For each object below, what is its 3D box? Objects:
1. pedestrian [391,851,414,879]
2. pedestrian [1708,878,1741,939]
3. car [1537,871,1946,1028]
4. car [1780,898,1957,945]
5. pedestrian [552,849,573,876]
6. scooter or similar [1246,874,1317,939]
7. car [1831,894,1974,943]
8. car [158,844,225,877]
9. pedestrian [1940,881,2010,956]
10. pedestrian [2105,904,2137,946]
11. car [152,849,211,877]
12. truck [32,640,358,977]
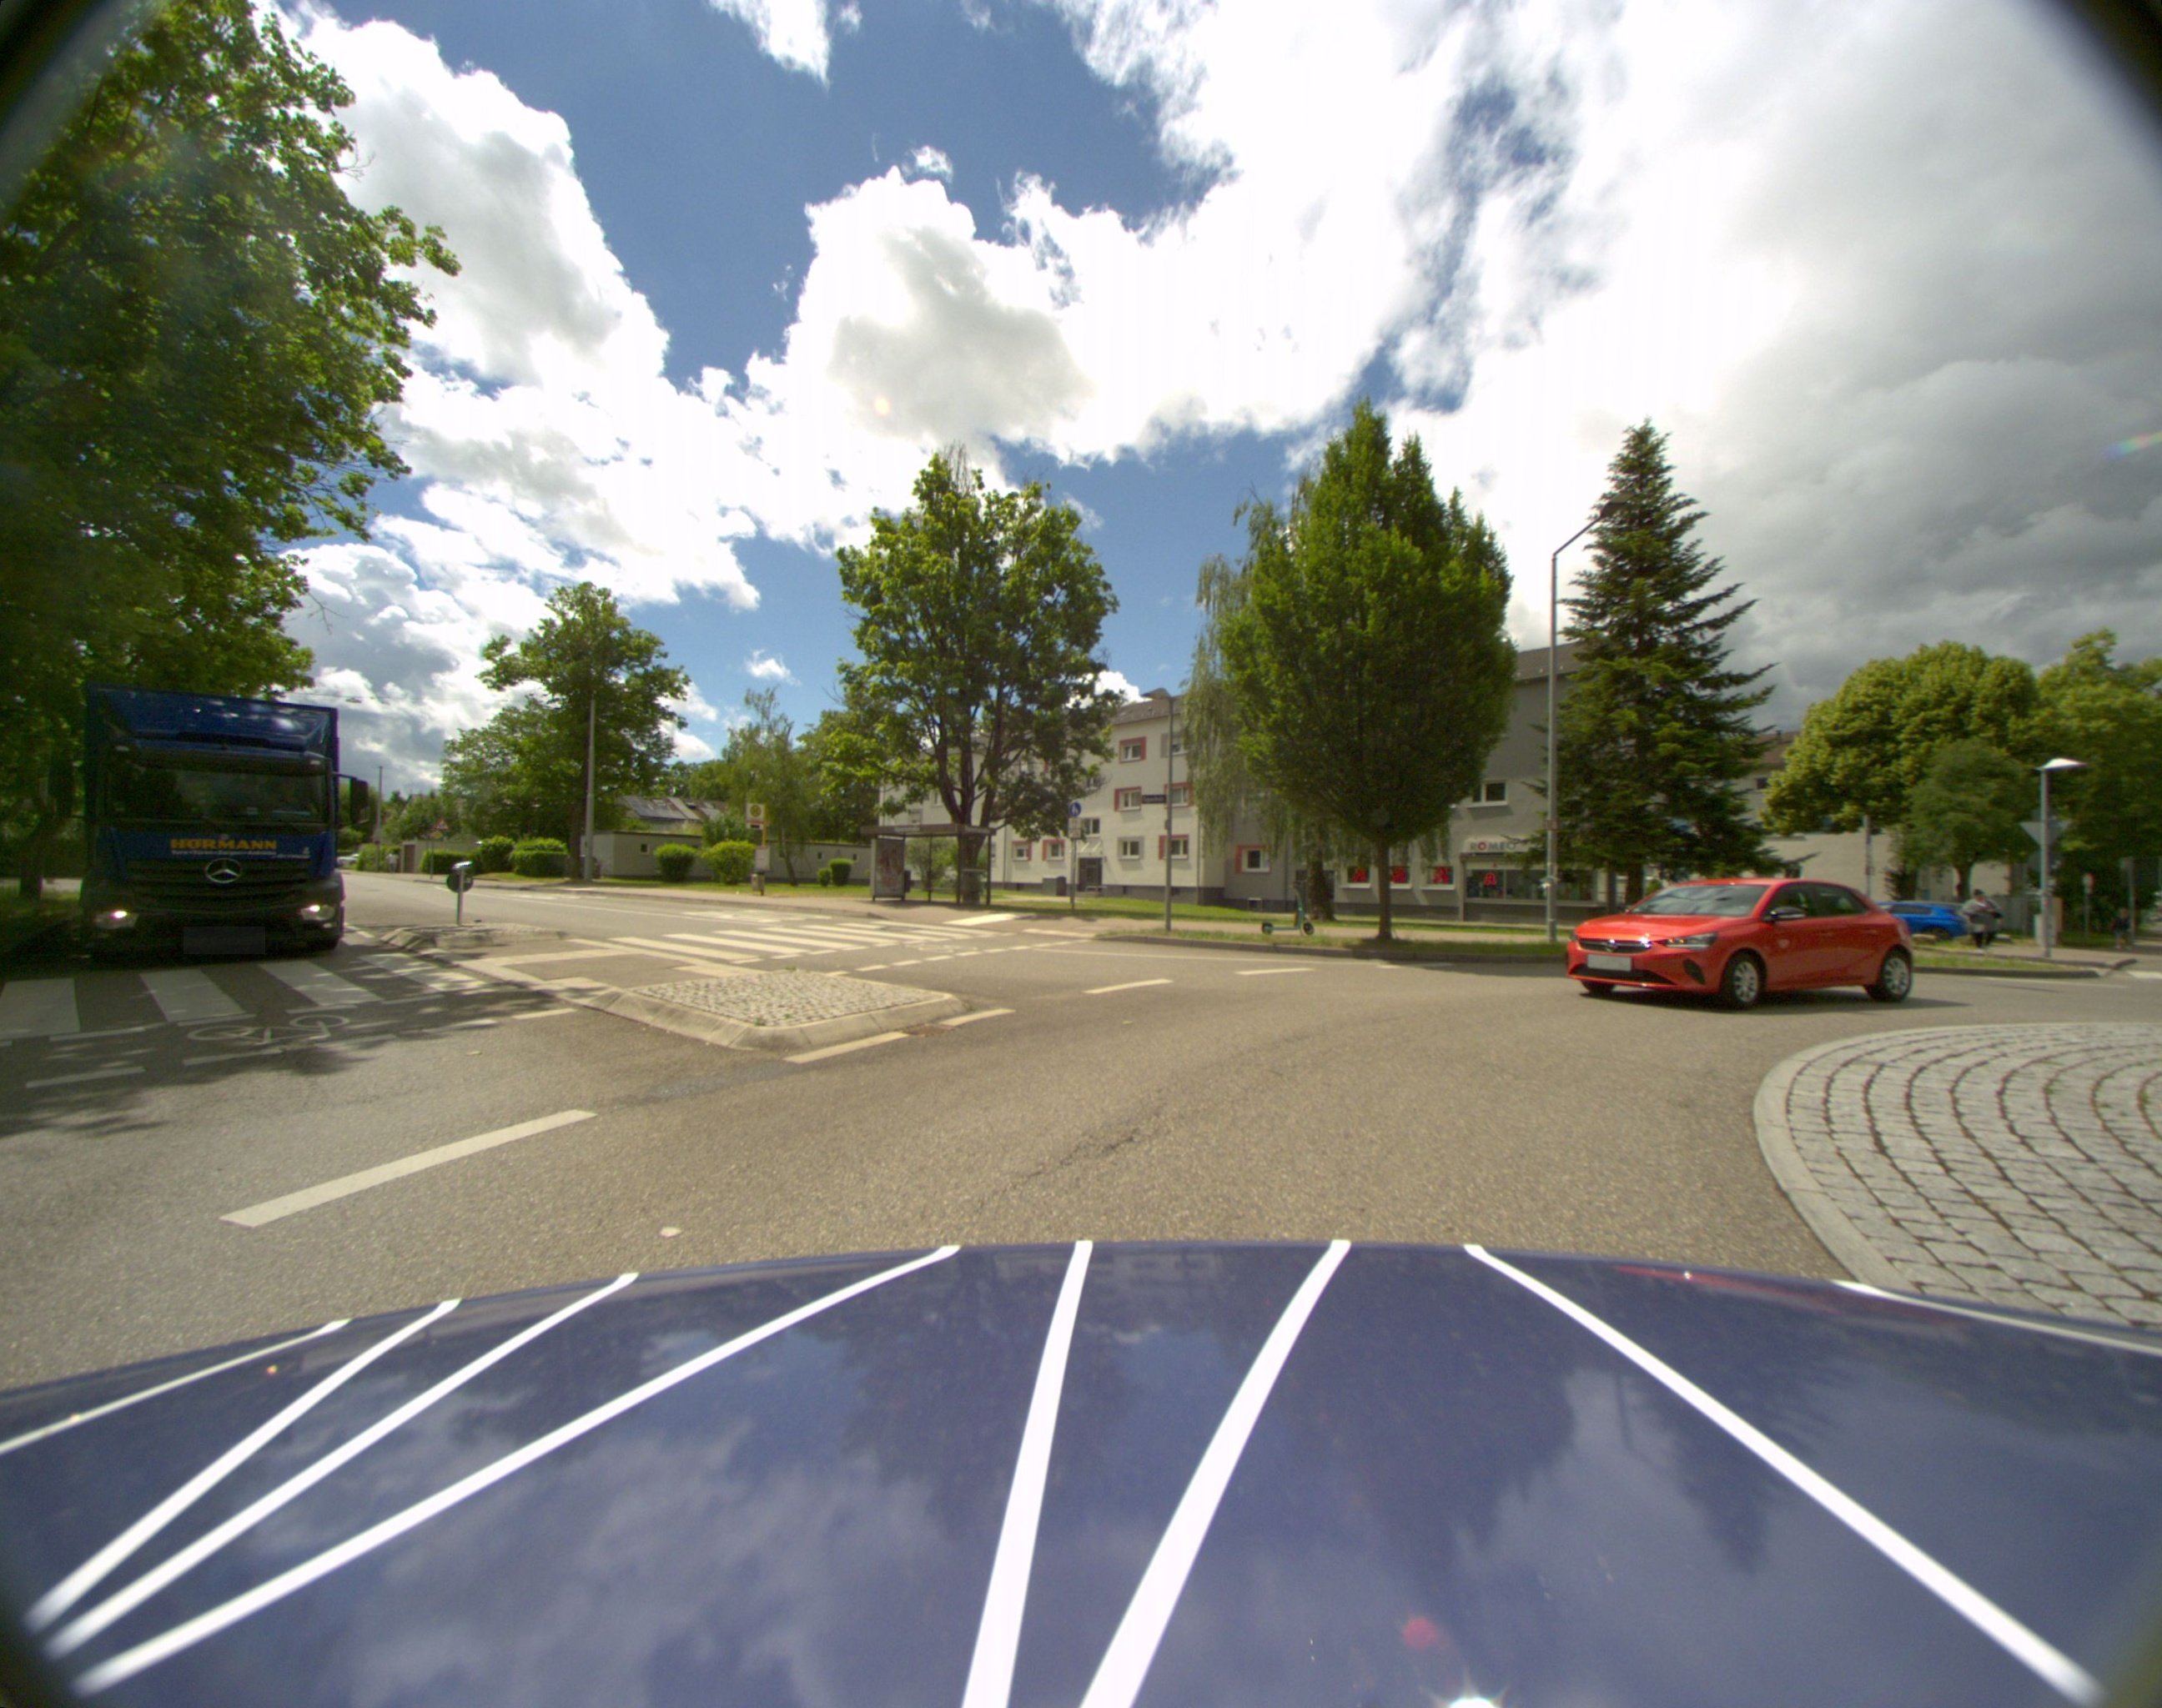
[{"bbox_3d":[-49.699,0.787,55.671,1.038,2.001,1.027,2,-1,37],"label":"pedestrian"},{"bbox_3d":[21.951,1.838,25.919,1.049,2.001,0.654,3,-1,-41],"label":"pedestrian"},{"bbox_3d":[7.754,1.046,9.001,4.003,1.548,1.764,2,-1,-17],"label":"car"},{"bbox_3d":[29.757,2.504,28.905,2.005,1.236,4.482,3,0,-44],"label":"car"},{"bbox_3d":[-30.337,0.500,44.470,0.905,1.572,0.658,2,-1,-43],"label":"pedestrian"},{"bbox_3d":[4.407,1.148,16.735,1.386,1.335,0.486,3,0,5],"label":"scooter or similar"},{"bbox_3d":[32.775,2.515,30.449,2.037,1.548,3.729,3,0,-43],"label":"car"},{"bbox_3d":[-45.595,0.385,38.934,3.989,1.543,2.005,-1,-3,38],"label":"car"},{"bbox_3d":[24.350,1.739,20.711,0.940,1.944,0.844,2,-1,23],"label":"pedestrian"},{"bbox_3d":[42.461,2.878,31.039,0.833,1.650,0.682,2,-1,-41],"label":"pedestrian"},{"bbox_3d":[-52.921,0.564,44.684,3.989,1.543,2.005,-1,-3,38],"label":"car"},{"bbox_3d":[-15.301,-0.485,13.699,9.769,4.127,2.796,-1,-2,44],"label":"truck"}]
